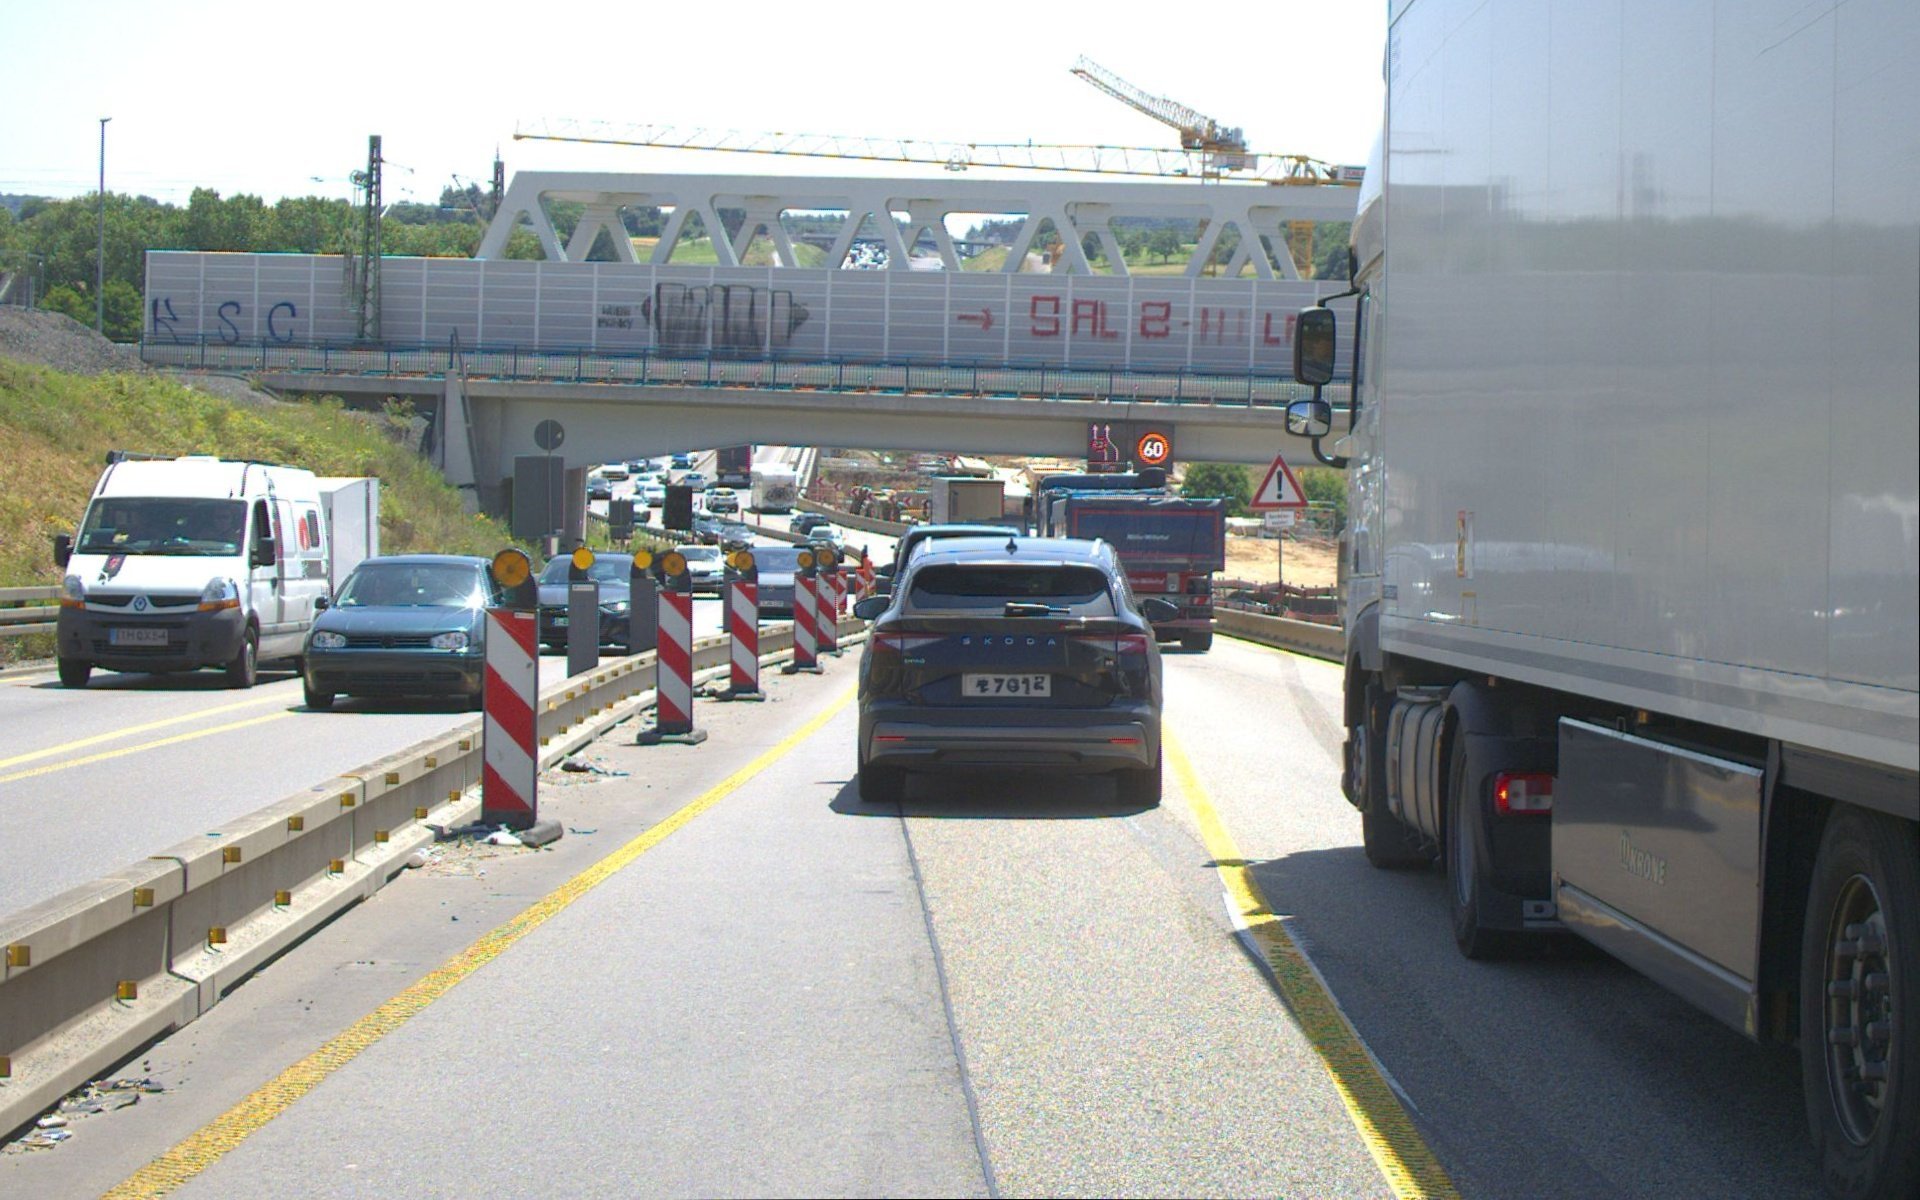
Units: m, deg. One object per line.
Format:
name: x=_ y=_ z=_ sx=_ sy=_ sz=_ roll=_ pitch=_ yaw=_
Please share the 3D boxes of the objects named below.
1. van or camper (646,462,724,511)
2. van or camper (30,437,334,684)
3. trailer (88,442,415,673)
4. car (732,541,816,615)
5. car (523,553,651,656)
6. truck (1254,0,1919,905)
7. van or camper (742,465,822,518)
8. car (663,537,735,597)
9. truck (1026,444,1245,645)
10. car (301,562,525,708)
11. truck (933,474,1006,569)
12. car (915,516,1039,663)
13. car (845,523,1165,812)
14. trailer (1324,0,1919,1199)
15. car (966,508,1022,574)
van or camper: x=-20.149 y=-8.288 z=251.169 sx=3.942 sy=3.408 sz=8.409 roll=1 pitch=2 yaw=-17
van or camper: x=-8.361 y=-0.435 z=37.395 sx=2.215 sy=2.472 sz=4.751 roll=1 pitch=1 yaw=0
trailer: x=-8.382 y=-0.522 z=41.667 sx=2.215 sy=2.472 sz=8.527 roll=1 pitch=1 yaw=0
car: x=-3.690 y=-0.453 z=68.454 sx=1.501 sy=1.415 sz=3.176 roll=1 pitch=1 yaw=0
car: x=-5.342 y=0.037 z=49.479 sx=1.501 sy=1.415 sz=3.176 roll=1 pitch=1 yaw=0
truck: x=3.102 y=-0.748 z=17.429 sx=2.776 sy=4.044 sz=4.905 roll=1 pitch=1 yaw=0
van or camper: x=-12.052 y=-7.294 z=231.830 sx=3.942 sy=3.408 sz=8.409 roll=1 pitch=2 yaw=-12
car: x=-7.818 y=-0.992 z=103.179 sx=1.791 sy=1.634 sz=3.850 roll=4 pitch=1 yaw=0
truck: x=2.887 y=-1.000 z=60.545 sx=2.814 sy=3.124 sz=12.839 roll=1 pitch=1 yaw=-2
car: x=-5.114 y=0.299 z=32.452 sx=1.610 sy=1.271 sz=3.167 roll=1 pitch=1 yaw=0
truck: x=0.407 y=-3.694 z=162.333 sx=3.175 sy=4.303 sz=9.258 roll=1 pitch=1 yaw=-1
car: x=0.249 y=-0.174 z=45.349 sx=1.475 sy=1.789 sz=3.297 roll=3 pitch=1 yaw=1
car: x=0.218 y=0.366 z=21.321 sx=1.800 sy=1.615 sz=3.298 roll=1 pitch=1 yaw=-1
trailer: x=3.061 y=-0.609 z=8.667 sx=2.801 sy=4.044 sz=14.117 roll=1 pitch=1 yaw=0
car: x=1.211 y=-2.115 z=122.831 sx=1.661 sy=2.262 sz=3.797 roll=2 pitch=1 yaw=-4
